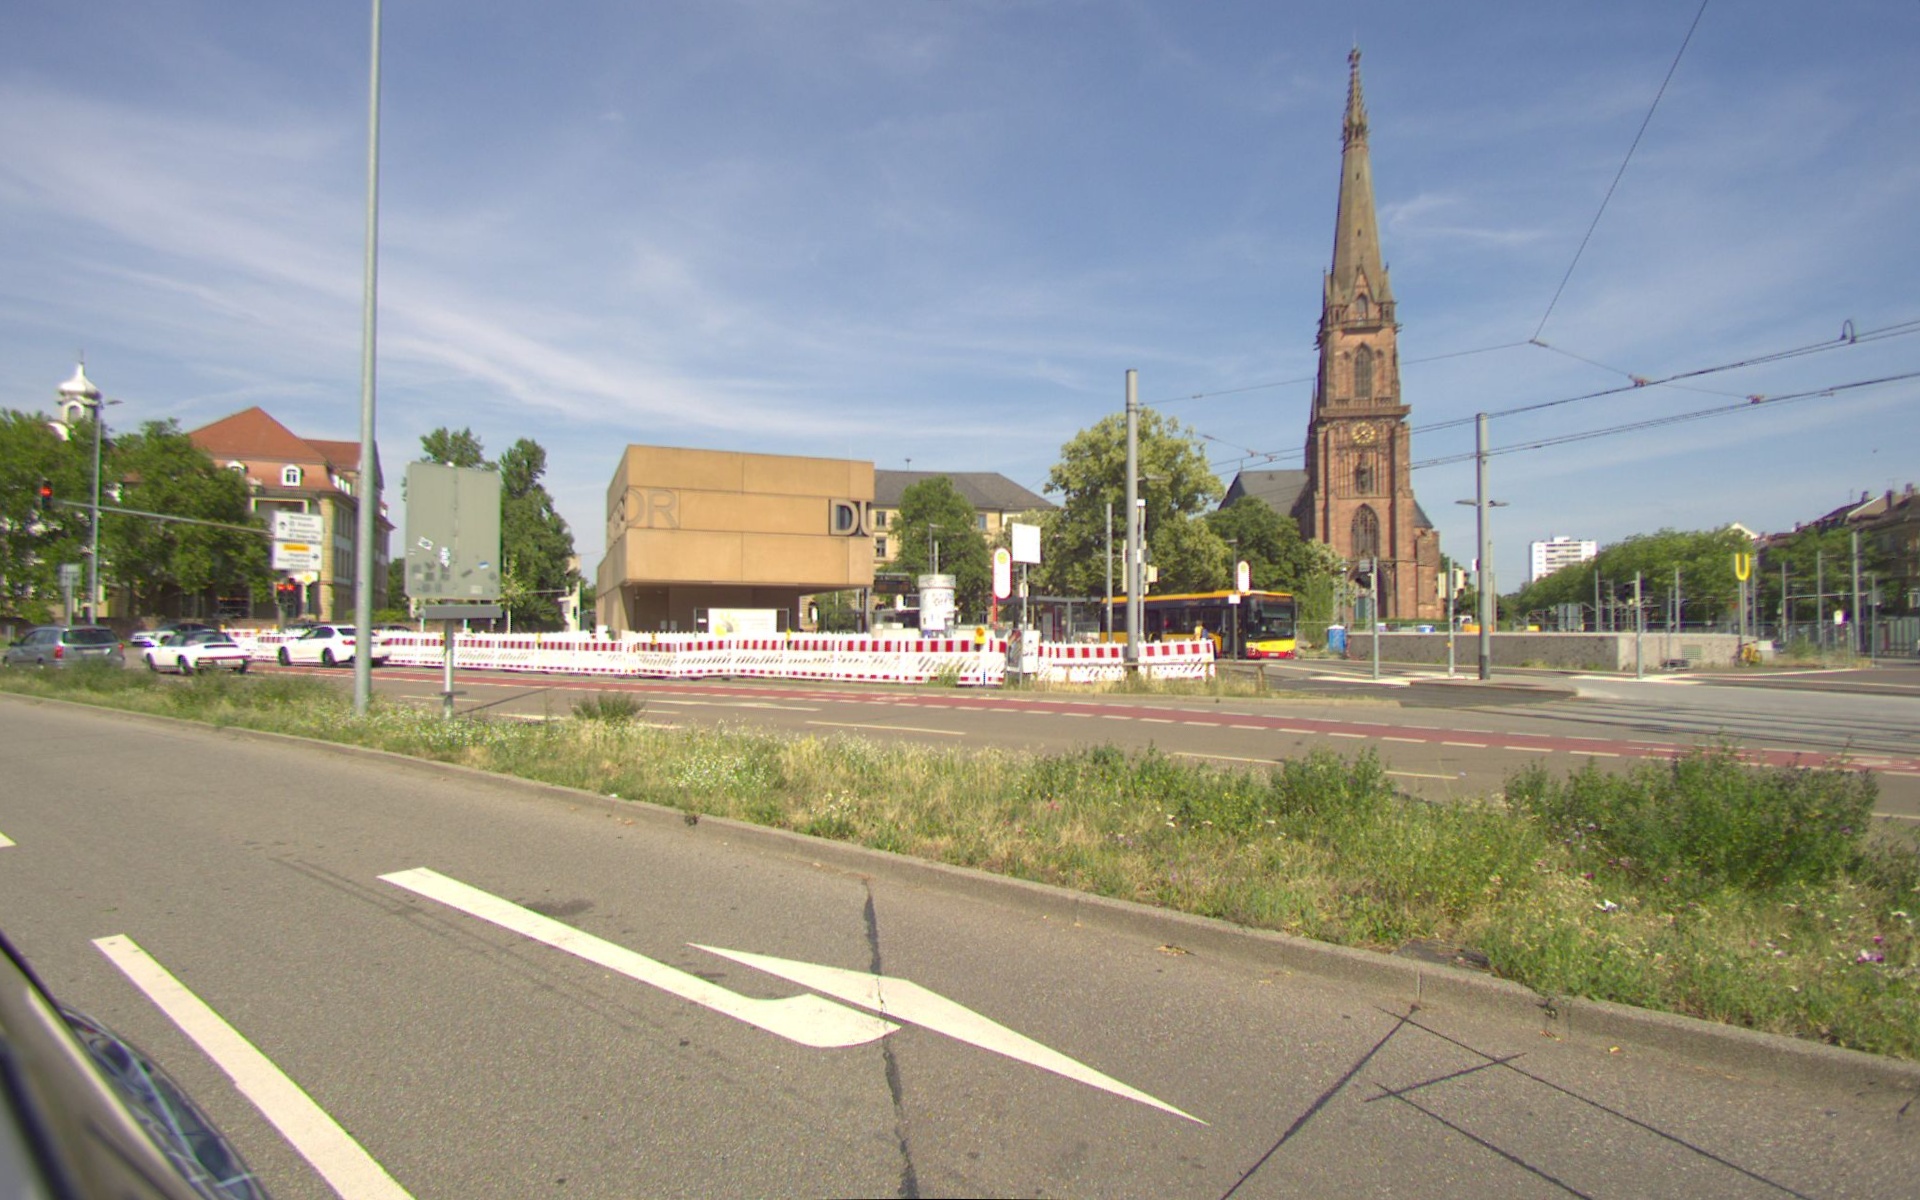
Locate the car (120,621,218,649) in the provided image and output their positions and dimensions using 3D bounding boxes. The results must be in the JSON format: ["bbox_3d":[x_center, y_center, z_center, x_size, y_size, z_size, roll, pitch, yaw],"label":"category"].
[{"bbox_3d":[-44.323,1.933,56.819,1.743,1.454,4.092,-1,0,16],"label":"car"}]

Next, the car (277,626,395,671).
[{"bbox_3d":[-21.402,1.622,34.676,3.984,1.431,1.785,-1,0,30],"label":"car"}]

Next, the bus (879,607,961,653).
[{"bbox_3d":[-3.343,2.419,79.583,2.710,3.348,11.827,1,-2,-22],"label":"bus"}]

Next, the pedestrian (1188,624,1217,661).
[{"bbox_3d":[9.128,1.595,38.144,0.911,1.377,0.532,-1,0,41],"label":"pedestrian"}]

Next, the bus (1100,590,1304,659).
[{"bbox_3d":[10.489,1.000,45.996,2.711,2.703,11.828,-1,0,-22],"label":"bus"}]

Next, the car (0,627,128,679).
[{"bbox_3d":[-24.703,1.406,27.812,3.984,1.296,1.583,-1,0,30],"label":"car"}]

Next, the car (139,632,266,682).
[{"bbox_3d":[-22.433,1.645,29.936,3.984,1.296,1.583,-1,0,30],"label":"car"}]
